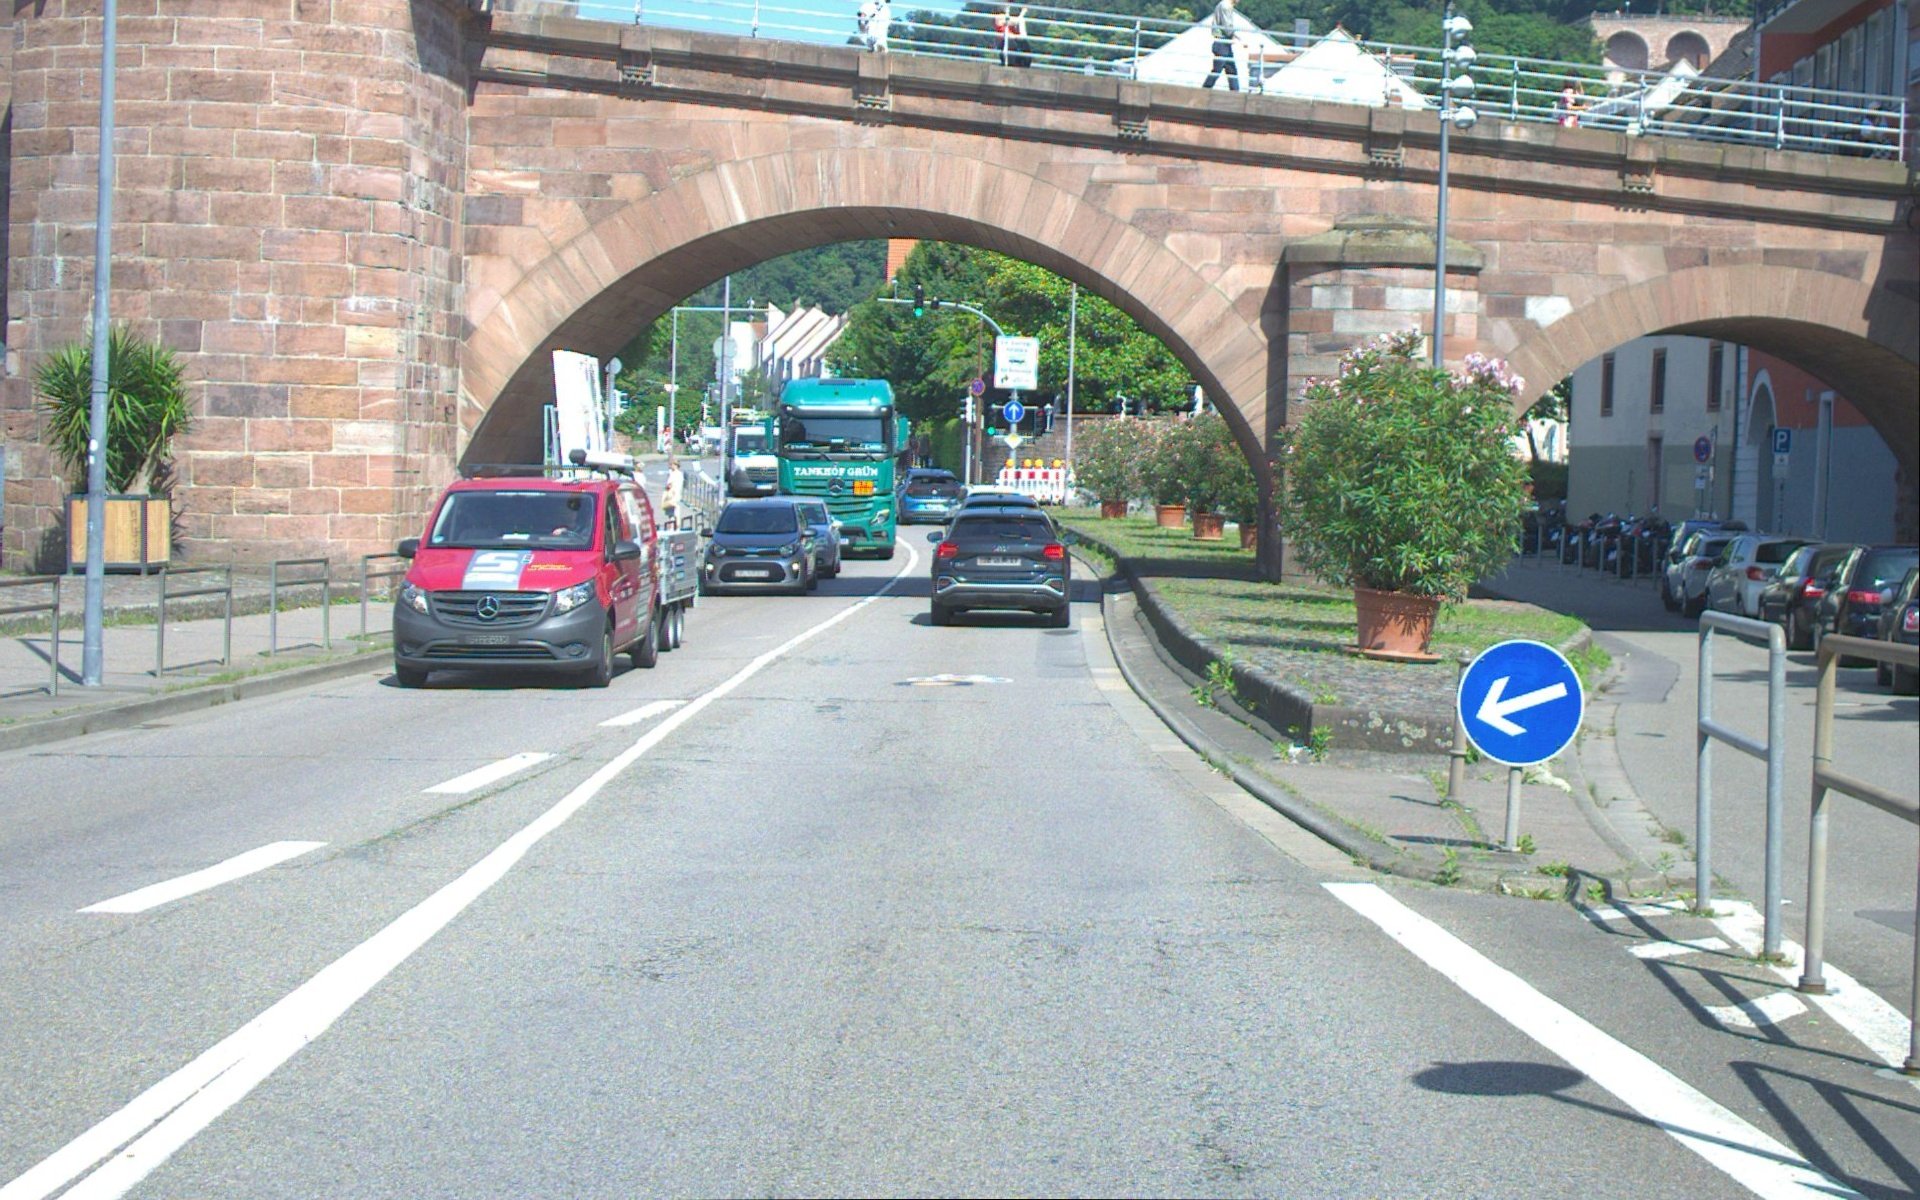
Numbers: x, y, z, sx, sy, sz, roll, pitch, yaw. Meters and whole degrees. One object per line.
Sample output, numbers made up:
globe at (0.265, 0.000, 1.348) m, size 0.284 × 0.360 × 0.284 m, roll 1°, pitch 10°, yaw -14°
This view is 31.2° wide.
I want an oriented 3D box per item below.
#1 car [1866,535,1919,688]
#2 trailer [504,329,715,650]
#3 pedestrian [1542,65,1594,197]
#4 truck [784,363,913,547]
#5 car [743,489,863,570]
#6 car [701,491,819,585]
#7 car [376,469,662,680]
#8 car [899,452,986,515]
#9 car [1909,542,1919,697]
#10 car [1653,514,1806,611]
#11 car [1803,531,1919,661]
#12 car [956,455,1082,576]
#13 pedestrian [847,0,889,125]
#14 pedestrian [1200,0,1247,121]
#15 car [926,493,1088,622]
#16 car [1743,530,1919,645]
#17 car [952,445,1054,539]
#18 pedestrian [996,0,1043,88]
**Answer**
car at (10.659, 0.103, 36.763) m, size 1.592 × 1.515 × 3.901 m, roll 2°, pitch 2°, yaw 11°
trailer at (-3.733, -1.192, 37.163) m, size 1.742 × 3.309 × 3.384 m, roll 0°, pitch 2°, yaw 3°
pedestrian at (9.548, -7.361, 53.996) m, size 0.684 × 2.006 × 0.586 m, roll 1°, pitch 2°, yaw 2°
truck at (-2.323, -3.141, 73.435) m, size 2.524 × 3.735 × 6.247 m, roll 0°, pitch 3°, yaw 0°
car at (-2.848, -1.307, 63.195) m, size 1.723 × 1.432 × 4.400 m, roll 0°, pitch 1°, yaw 4°
car at (-3.156, -1.014, 54.846) m, size 1.535 × 1.431 × 3.728 m, roll 0°, pitch 2°, yaw 2°
car at (-4.010, -0.305, 32.009) m, size 1.874 × 1.821 × 4.544 m, roll 0°, pitch 2°, yaw 3°
car at (-0.517, -3.226, 95.588) m, size 1.993 × 1.656 × 4.001 m, roll 1°, pitch 2°, yaw -6°
car at (9.854, 0.244, 32.055) m, size 1.495 × 1.479 × 3.715 m, roll 2°, pitch 2°, yaw 9°
car at (12.929, -0.666, 57.999) m, size 1.893 × 1.487 × 4.416 m, roll 1°, pitch 2°, yaw 5°
car at (11.694, -0.081, 43.086) m, size 1.776 × 1.497 × 3.985 m, roll 1°, pitch 2°, yaw 8°
car at (1.058, -1.479, 59.692) m, size 1.994 × 2.006 × 4.000 m, roll 1°, pitch 2°, yaw 3°
pedestrian at (-1.385, -8.214, 51.896) m, size 0.581 × 2.006 × 0.586 m, roll 1°, pitch 2°, yaw 2°
pedestrian at (3.743, -7.850, 48.842) m, size 0.623 × 2.006 × 0.695 m, roll 1°, pitch 2°, yaw 3°
car at (0.656, -0.596, 44.816) m, size 1.857 × 1.518 × 4.000 m, roll 1°, pitch 3°, yaw 4°
car at (12.256, -0.213, 48.284) m, size 1.776 × 1.431 × 4.492 m, roll 2°, pitch 2°, yaw 4°
car at (0.925, -2.398, 76.315) m, size 1.993 × 2.006 × 4.001 m, roll 1°, pitch 2°, yaw -3°
pedestrian at (0.913, -8.796, 52.067) m, size 0.684 × 2.006 × 0.586 m, roll 1°, pitch 2°, yaw 2°
